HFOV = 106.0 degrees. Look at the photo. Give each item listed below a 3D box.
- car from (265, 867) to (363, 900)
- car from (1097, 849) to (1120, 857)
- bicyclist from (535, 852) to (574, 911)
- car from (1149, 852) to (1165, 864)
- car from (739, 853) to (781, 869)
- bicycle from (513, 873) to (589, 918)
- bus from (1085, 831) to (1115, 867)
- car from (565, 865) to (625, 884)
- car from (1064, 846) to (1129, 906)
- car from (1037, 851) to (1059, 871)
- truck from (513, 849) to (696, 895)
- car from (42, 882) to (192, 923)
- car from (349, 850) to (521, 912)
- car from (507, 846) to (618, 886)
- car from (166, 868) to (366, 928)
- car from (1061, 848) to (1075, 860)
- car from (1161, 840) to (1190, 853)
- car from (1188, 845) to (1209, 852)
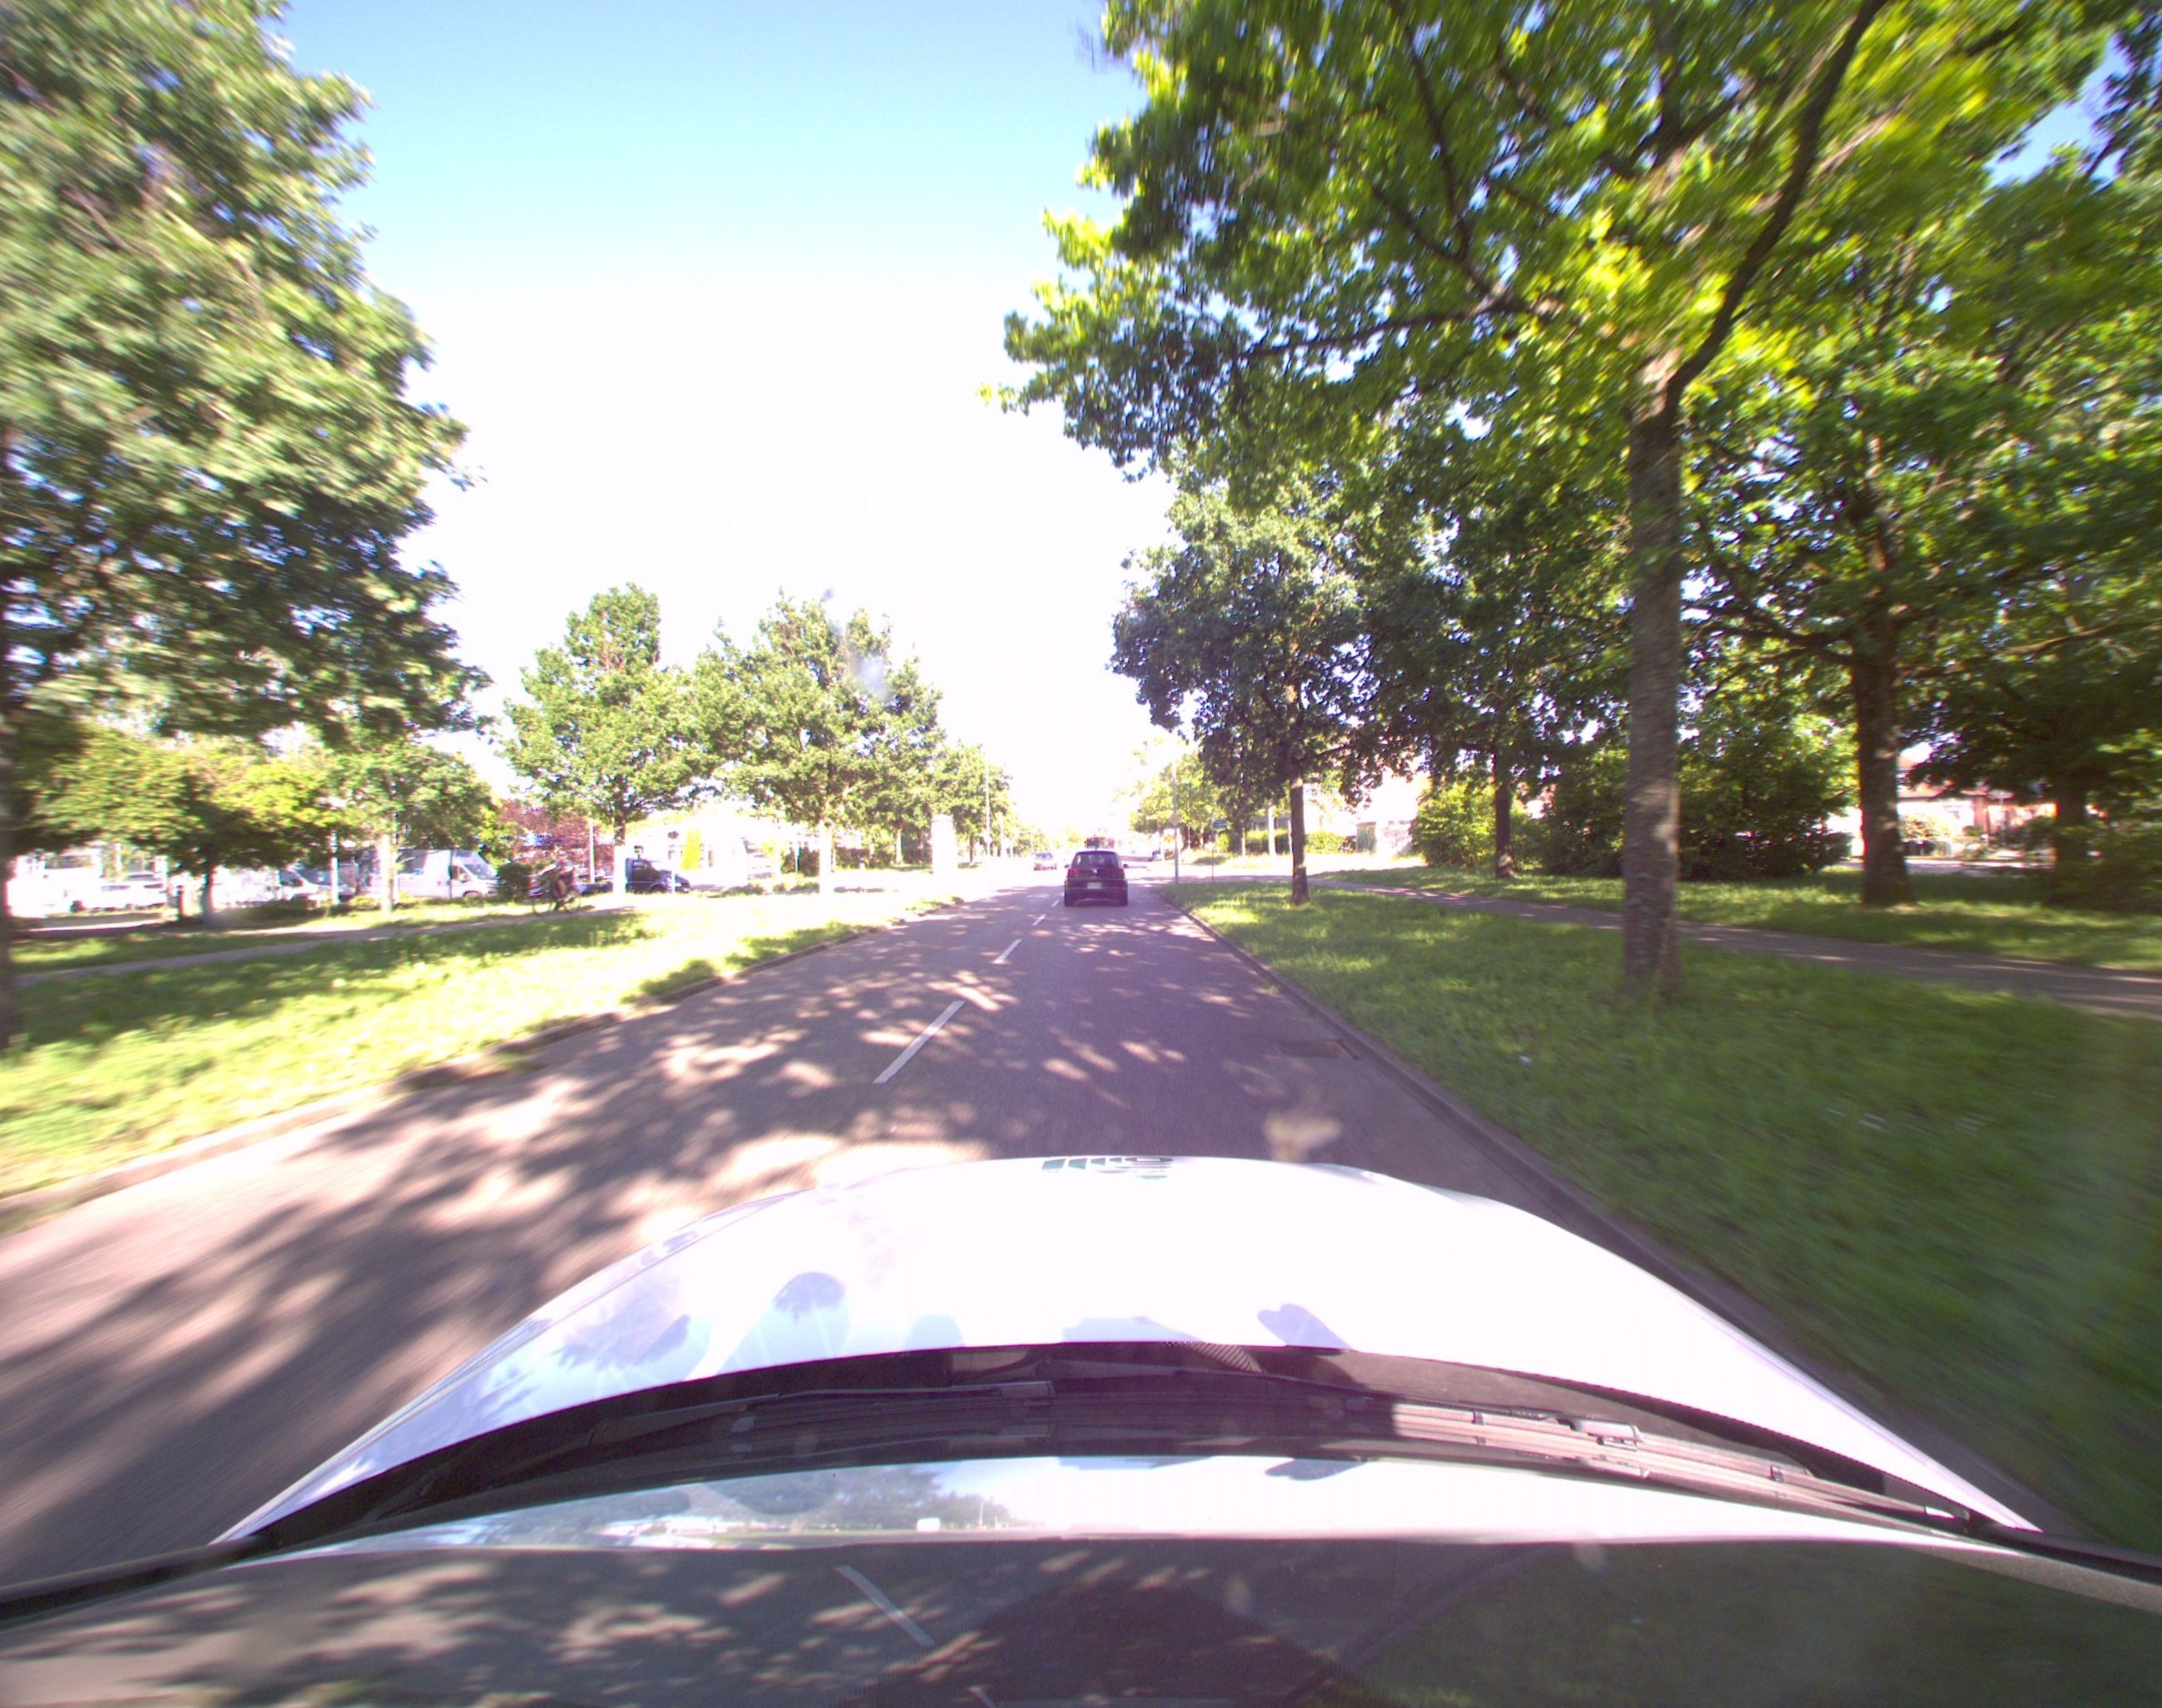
[{"bbox_3d":[-48.865,1.845,51.927,4.231,1.885,1.882,-2,0,-5],"label":"car"},{"bbox_3d":[4.363,-0.158,130.727,3.502,1.302,1.578,-1,0,8],"label":"car"},{"bbox_3d":[-14.941,0.775,23.110,0.661,1.629,0.659,0,-1,1],"label":"bicyclist"},{"bbox_3d":[9.359,0.483,100.082,1.587,1.428,4.204,-3,0,0],"label":"car"},{"bbox_3d":[-31.930,0.692,81.065,3.591,1.498,1.590,-1,-1,-6],"label":"car"},{"bbox_3d":[-14.899,1.147,22.970,0.549,1.162,2.335,0,-1,2],"label":"bicycle"},{"bbox_3d":[1.806,-0.486,82.279,2.588,3.334,11.980,0,0,0],"label":"bus"},{"bbox_3d":[-36.943,1.562,61.922,3.515,1.302,1.573,-1,0,-4],"label":"car"},{"bbox_3d":[0.491,0.633,24.754,1.814,1.673,4.004,0,-1,2],"label":"car"},{"bbox_3d":[-2.799,0.600,70.059,1.748,1.595,4.298,0,-1,0],"label":"car"},{"bbox_3d":[-22.149,0.816,38.168,7.102,2.050,2.136,0,-1,-6],"label":"truck"},{"bbox_3d":[-53.955,2.676,45.689,5.334,2.104,2.297,0,-1,-5],"label":"car"},{"bbox_3d":[-29.625,1.200,37.525,5.851,2.702,2.297,0,-1,-5],"label":"car"},{"bbox_3d":[-36.218,0.818,57.057,6.148,2.703,2.297,0,-1,-5],"label":"car"},{"bbox_3d":[-36.701,1.948,36.846,6.327,2.516,2.297,0,-1,-5],"label":"car"},{"bbox_3d":[-1.933,-0.003,118.429,1.751,1.620,4.025,-2,0,-5],"label":"car"},{"bbox_3d":[16.640,-1.397,143.873,4.693,2.123,1.939,-2,0,-5],"label":"car"},{"bbox_3d":[22.897,-1.151,158.851,3.891,1.340,1.677,0,-1,-9],"label":"car"}]
